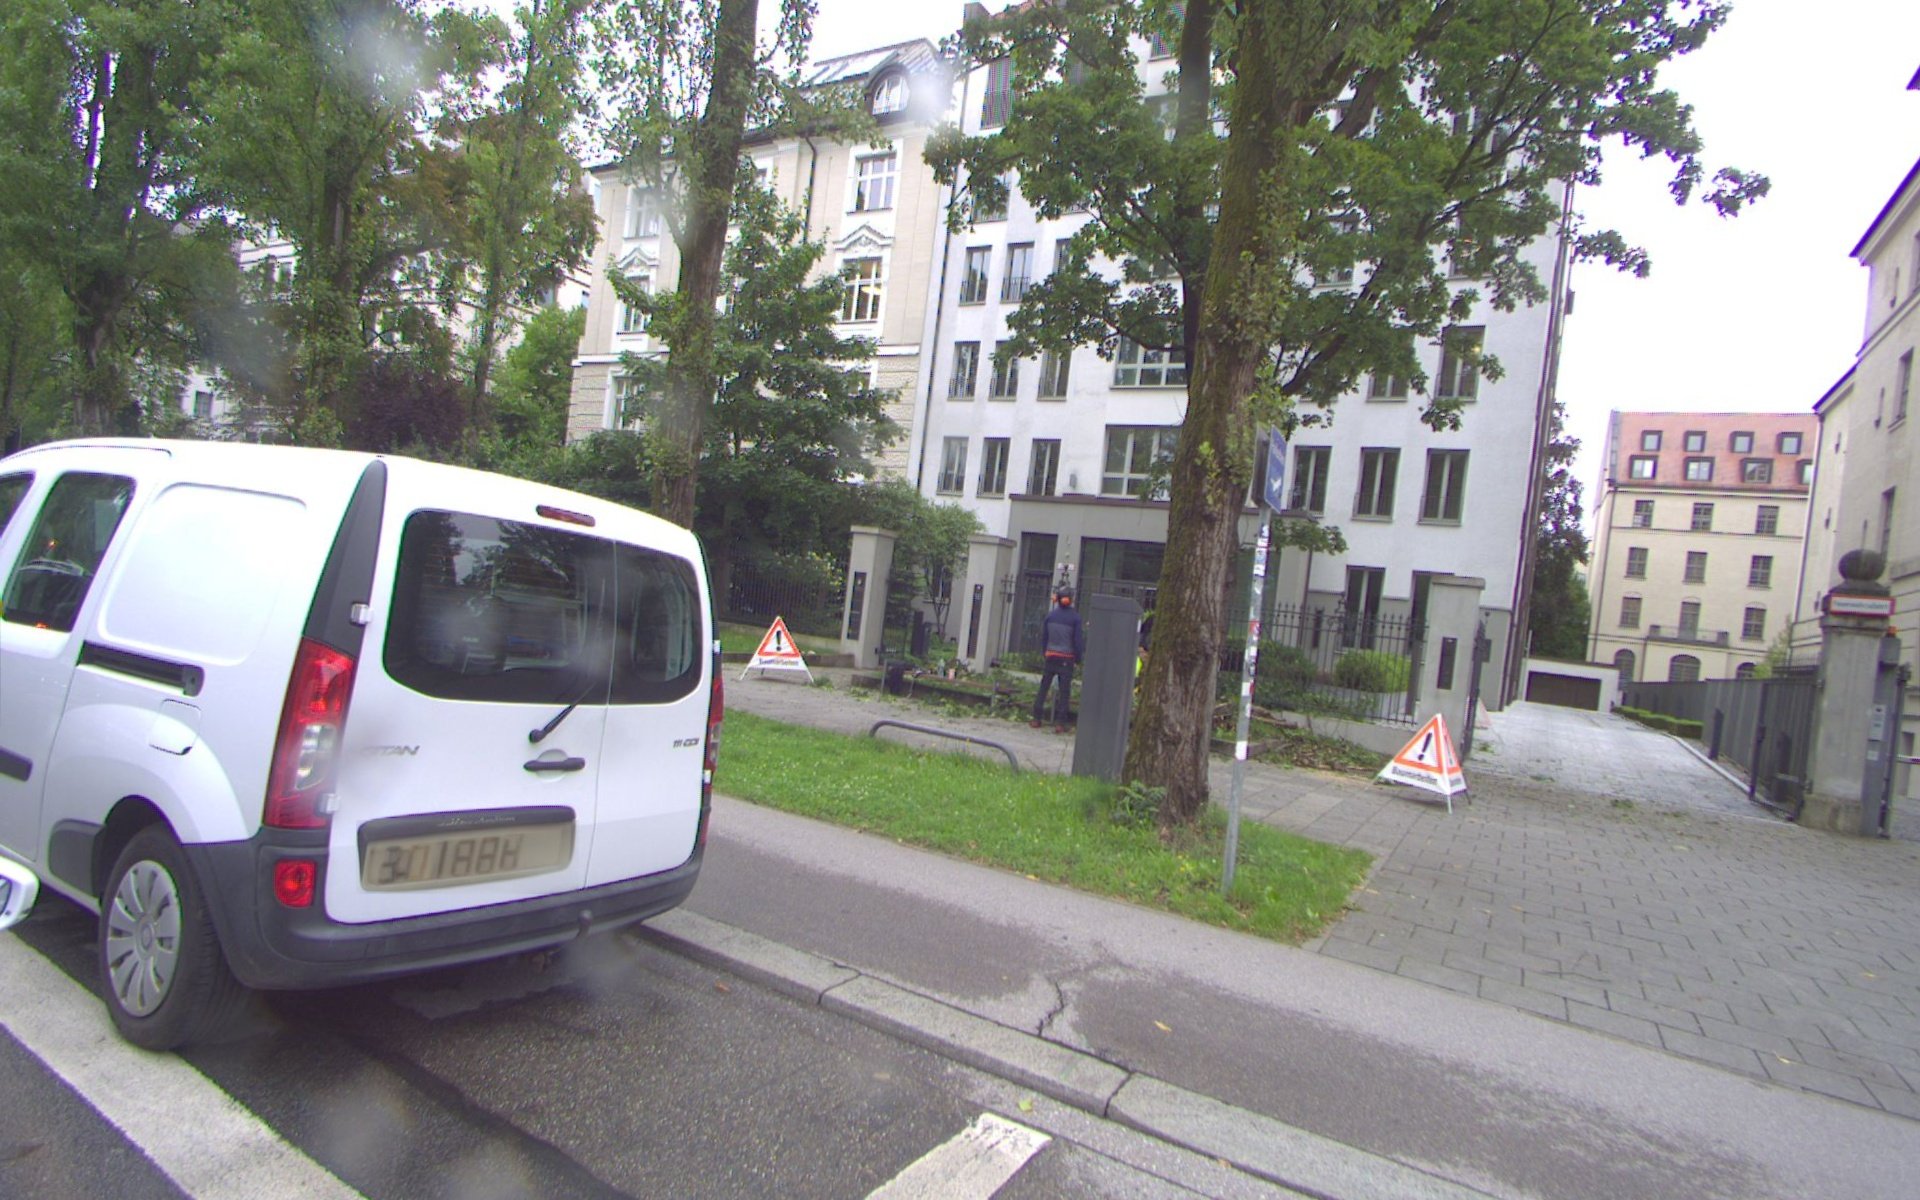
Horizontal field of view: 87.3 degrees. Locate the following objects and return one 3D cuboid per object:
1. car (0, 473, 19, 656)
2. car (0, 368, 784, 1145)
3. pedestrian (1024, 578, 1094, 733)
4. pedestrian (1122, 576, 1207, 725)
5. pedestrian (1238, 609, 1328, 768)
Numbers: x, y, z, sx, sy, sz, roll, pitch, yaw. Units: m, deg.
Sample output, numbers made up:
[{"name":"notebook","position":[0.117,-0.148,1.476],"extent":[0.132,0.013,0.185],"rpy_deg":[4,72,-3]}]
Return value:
[{"name":"car","position":[-9.108,-0.388,7.612],"extent":[4.141,1.612,1.743],"rpy_deg":[7,0,31]},{"name":"car","position":[-3.028,0.230,4.275],"extent":[4.097,1.904,1.854],"rpy_deg":[7,0,30]},{"name":"pedestrian","position":[1.273,0.700,12.899],"extent":[0.626,1.886,0.488],"rpy_deg":[7,1,14]},{"name":"pedestrian","position":[2.732,0.665,13.551],"extent":[0.814,1.823,0.904],"rpy_deg":[9,2,10]},{"name":"pedestrian","position":[3.950,1.060,12.371],"extent":[0.805,1.804,0.802],"rpy_deg":[7,1,14]}]
